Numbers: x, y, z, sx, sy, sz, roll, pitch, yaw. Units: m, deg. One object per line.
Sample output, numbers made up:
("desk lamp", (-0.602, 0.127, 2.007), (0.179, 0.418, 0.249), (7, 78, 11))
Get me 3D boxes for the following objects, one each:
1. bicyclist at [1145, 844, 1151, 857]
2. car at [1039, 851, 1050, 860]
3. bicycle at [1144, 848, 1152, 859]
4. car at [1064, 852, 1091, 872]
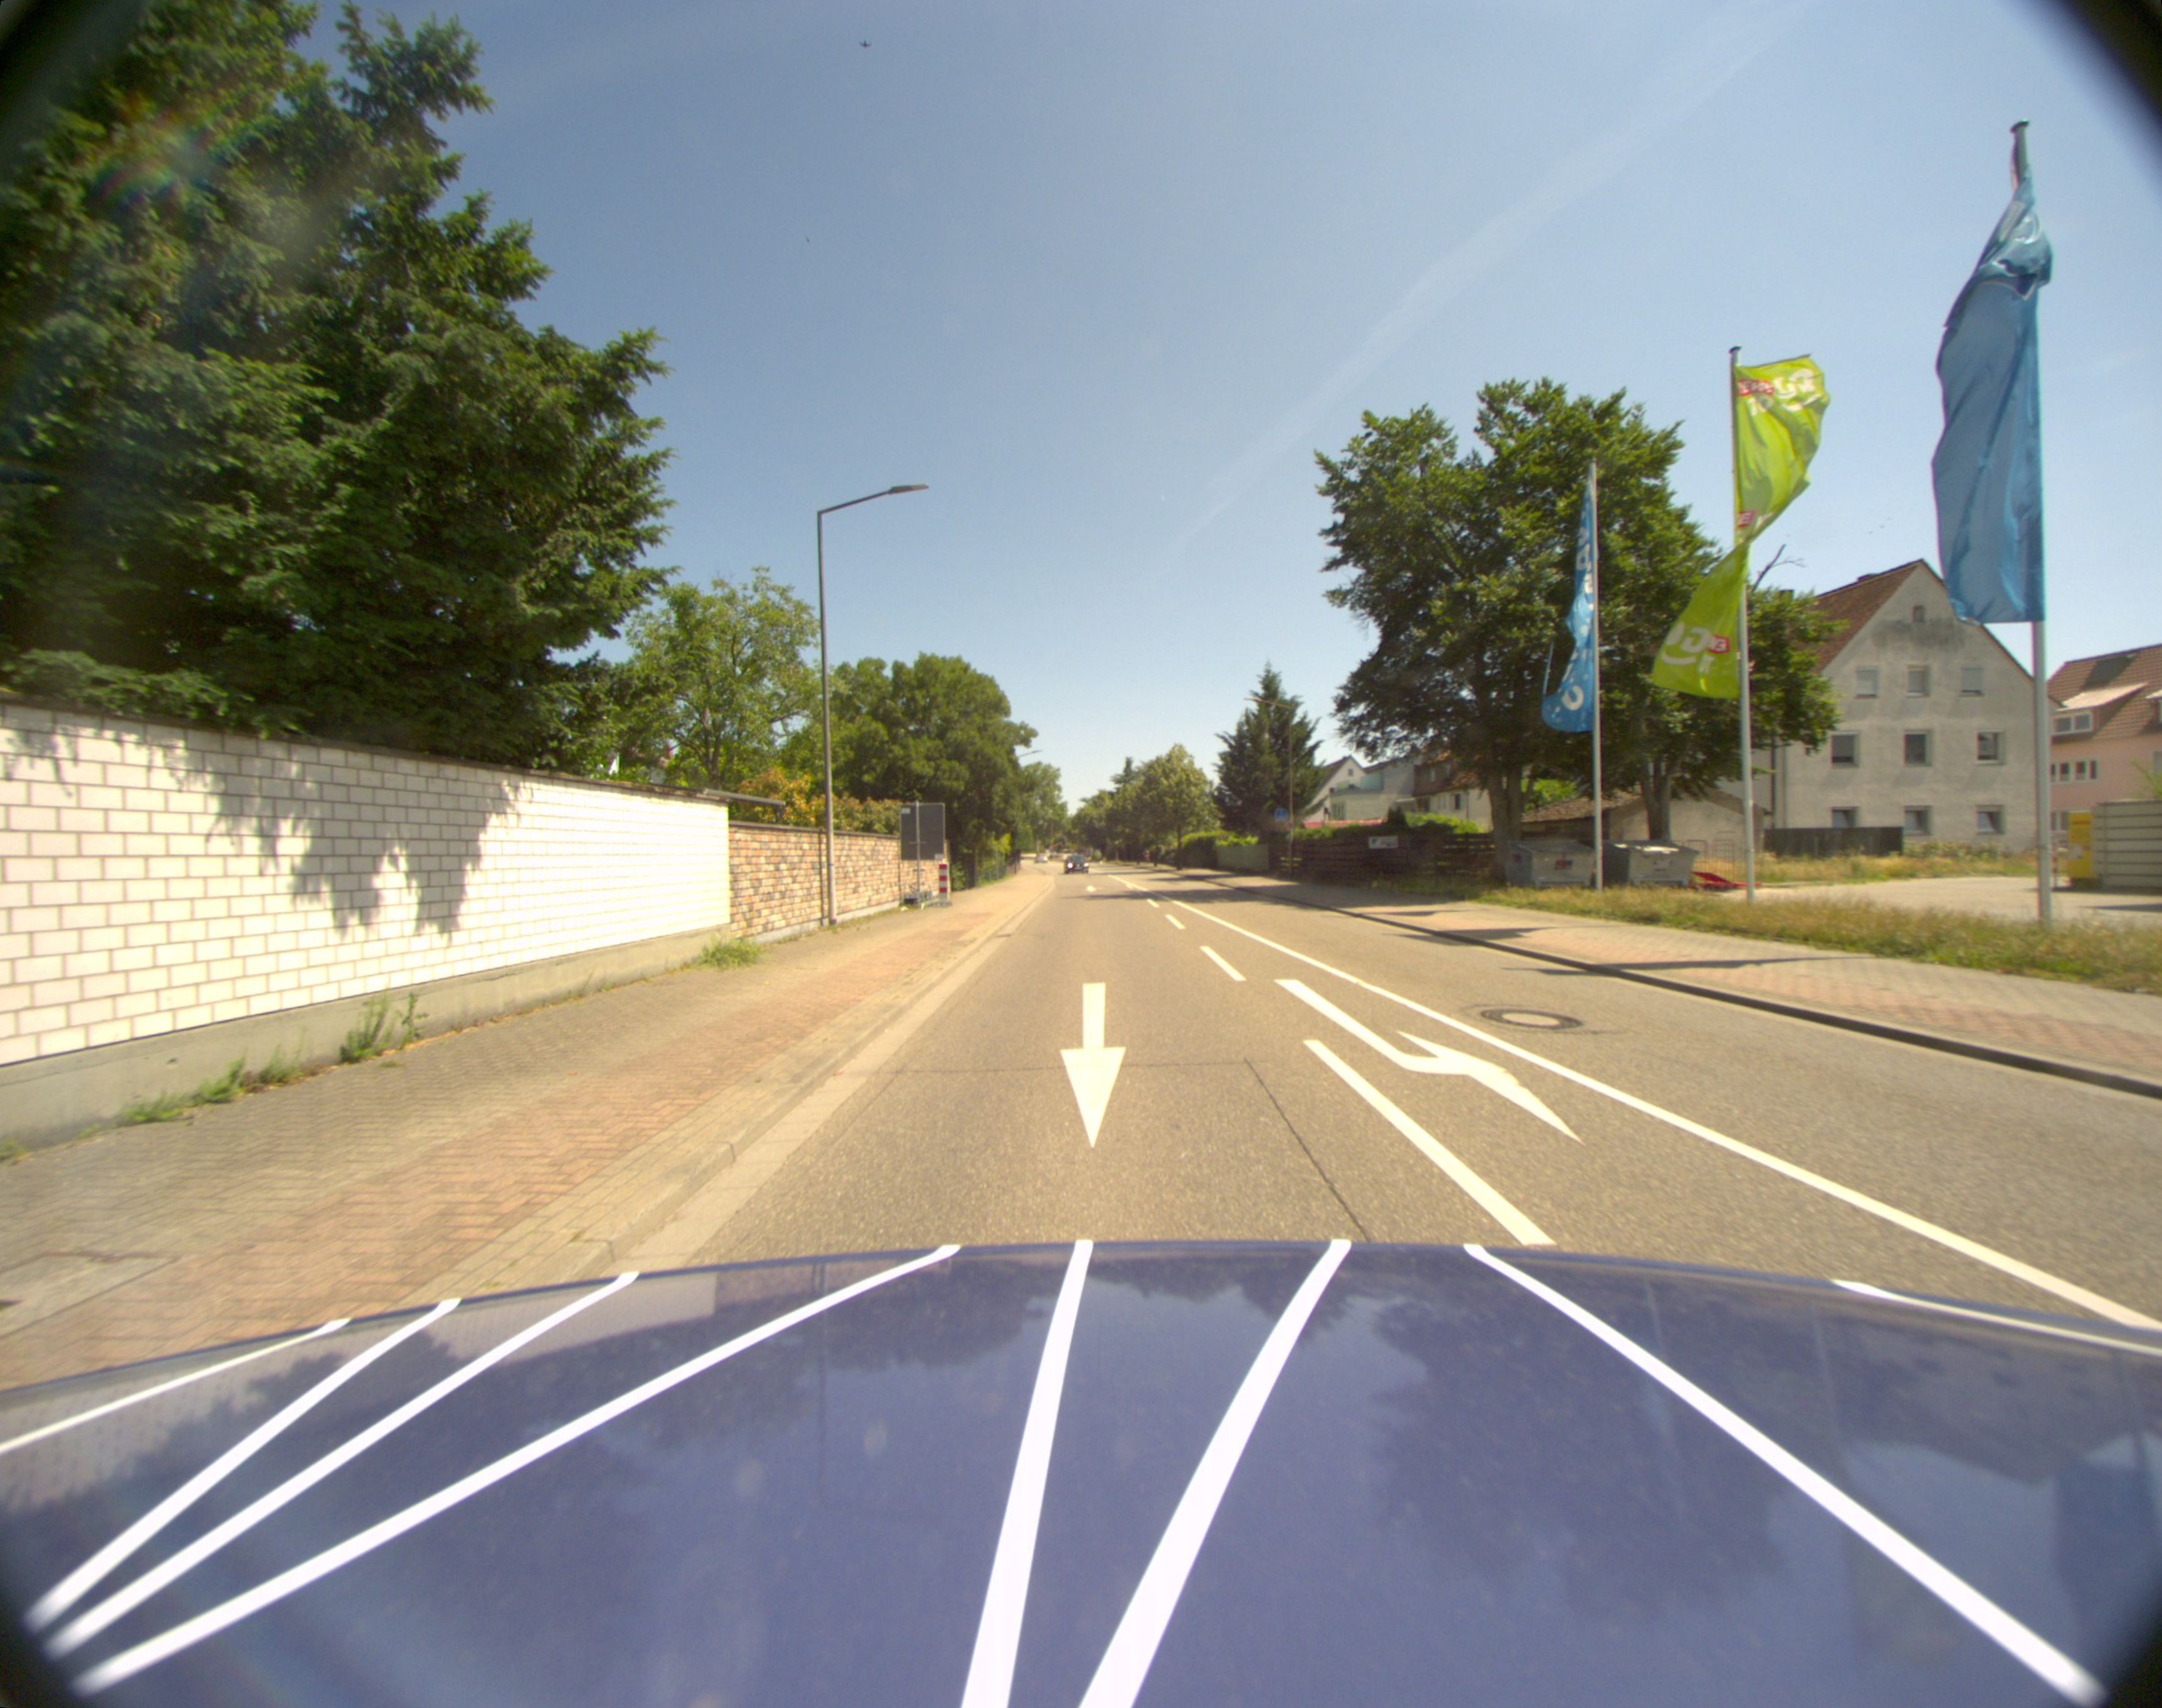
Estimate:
("bicyclist", (7.362, -0.390, 83.590), (0.630, 1.400, 0.676), (-1, 1, -4))
("car", (-5.902, 0.252, 122.126), (1.616, 1.474, 3.705), (-2, 1, -4))
("bicycle", (7.368, -0.041, 83.592), (0.634, 1.173, 1.815), (-1, 1, -4))
("car", (-0.342, 0.592, 59.263), (1.608, 1.436, 3.906), (-2, 1, -7))
